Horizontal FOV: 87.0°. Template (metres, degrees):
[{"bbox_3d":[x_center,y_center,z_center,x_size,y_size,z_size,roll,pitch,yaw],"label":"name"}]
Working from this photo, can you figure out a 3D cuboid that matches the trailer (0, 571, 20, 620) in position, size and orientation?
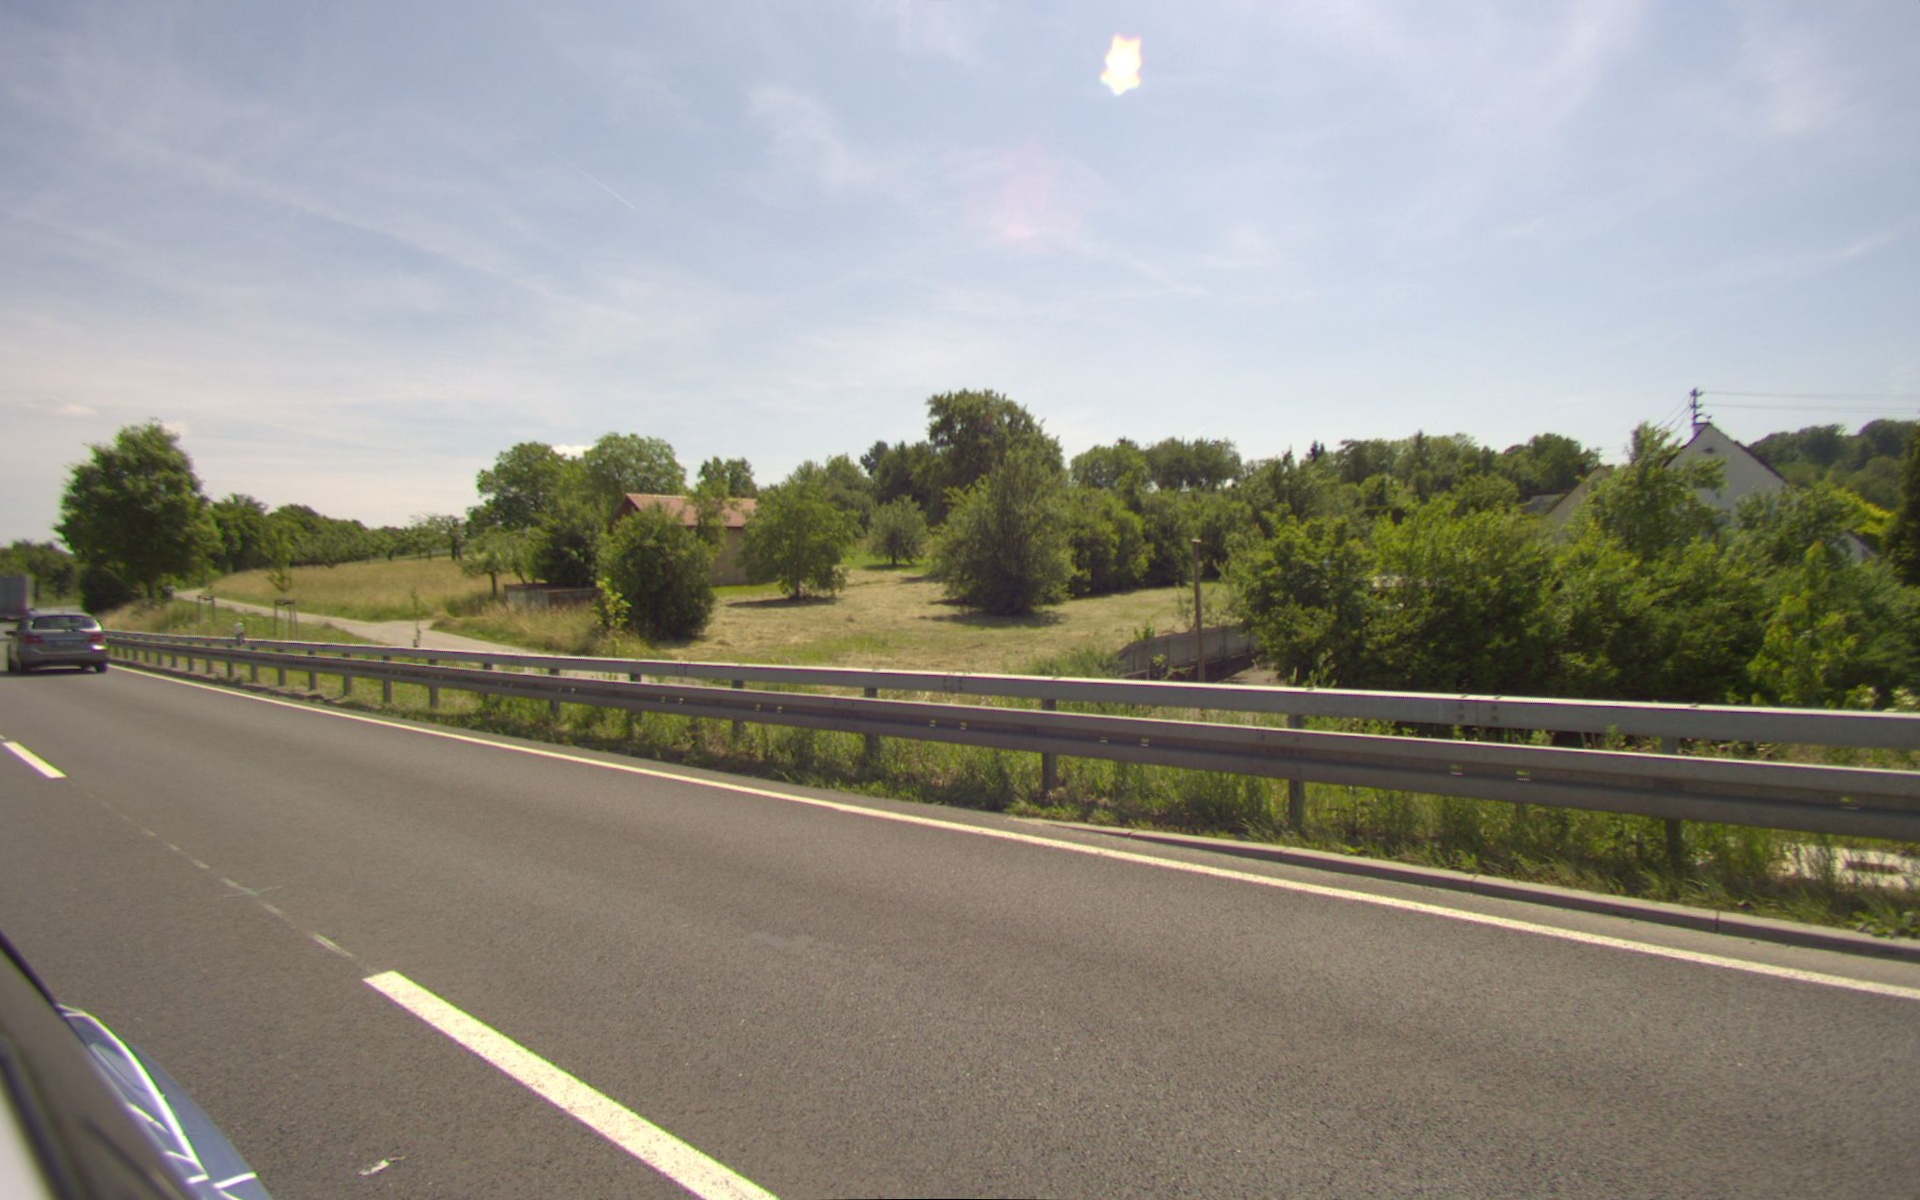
[{"bbox_3d":[-87.418,-0.321,92.229,2.416,4.216,14.030,1,-1,-42],"label":"trailer"}]

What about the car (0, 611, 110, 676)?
[{"bbox_3d":[-24.128,1.094,26.822,4.377,1.601,1.788,-1,-1,41],"label":"car"}]
